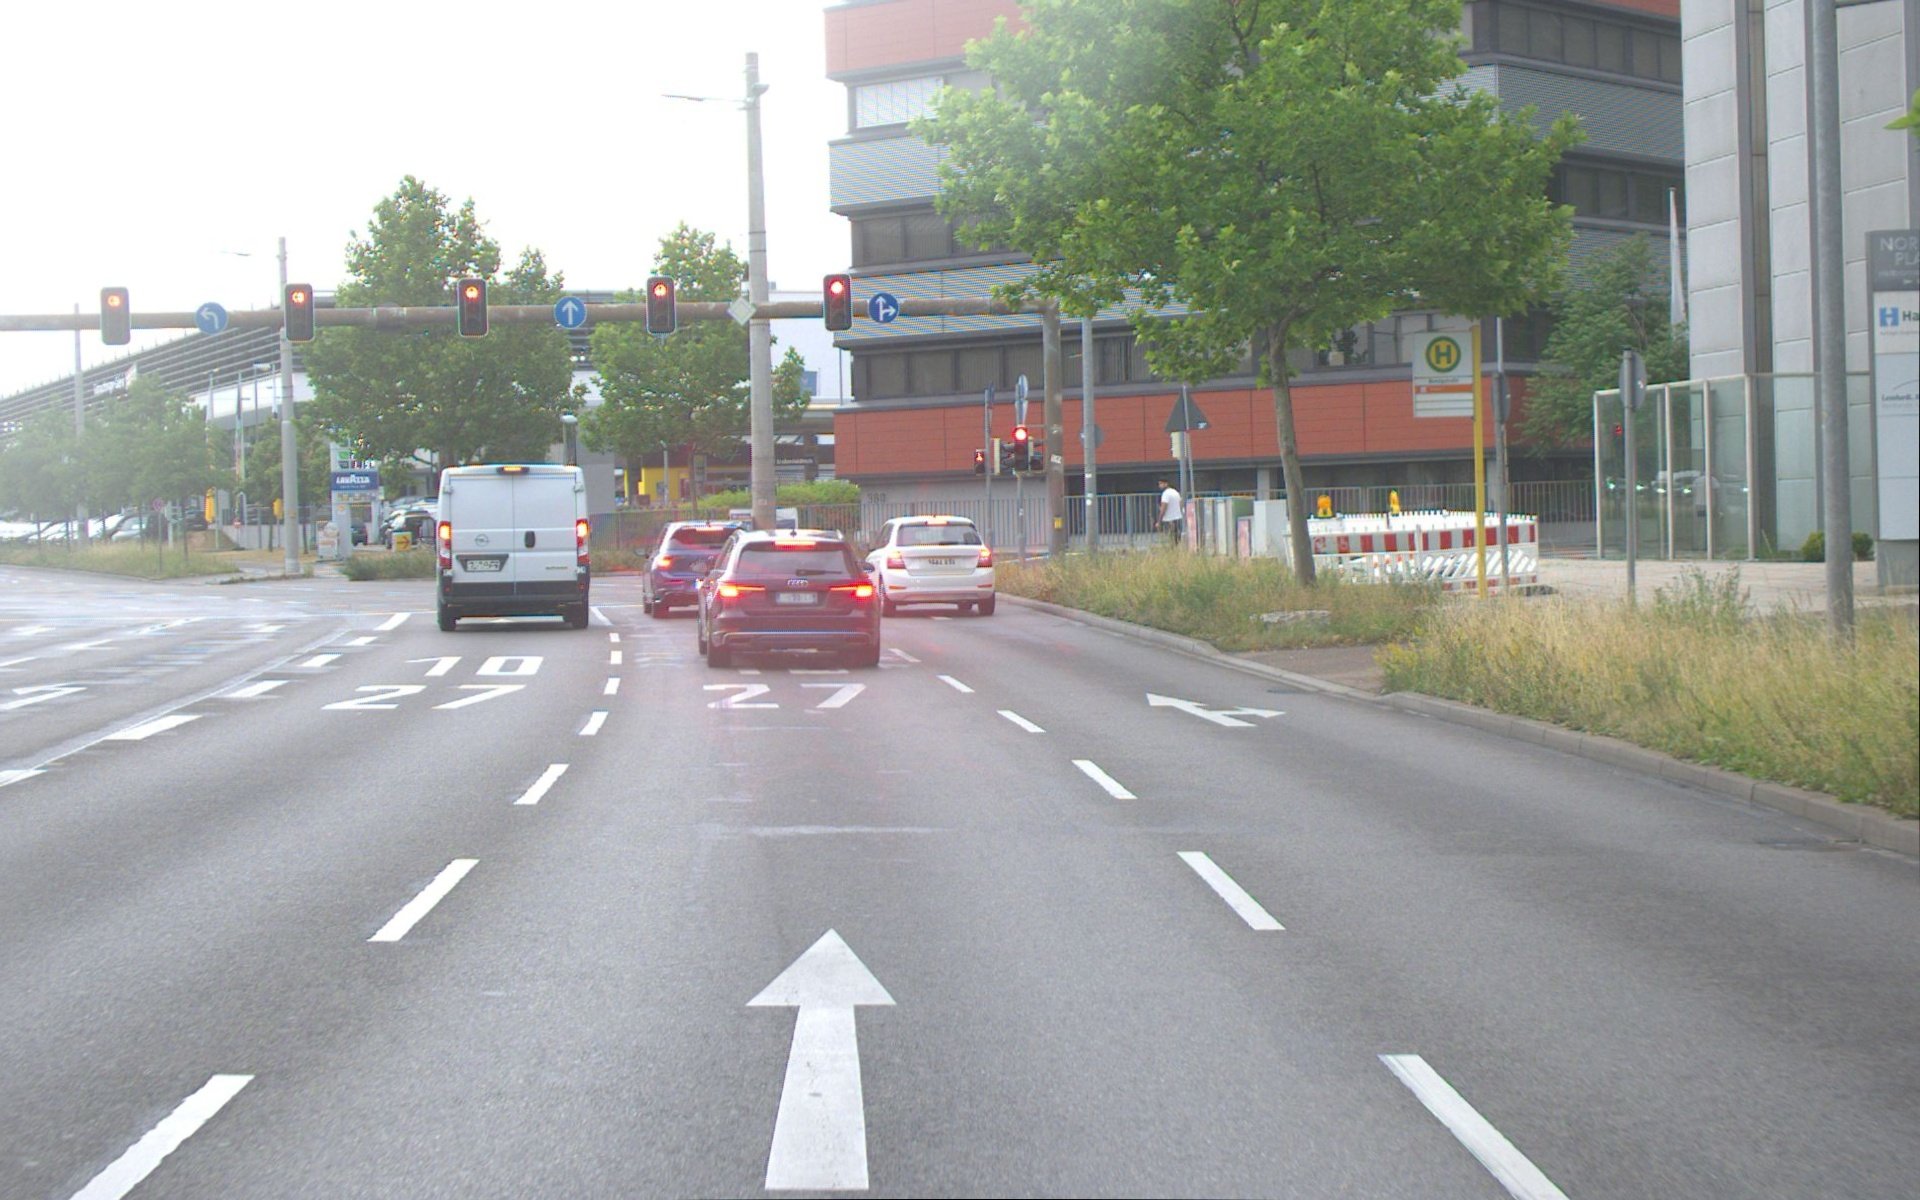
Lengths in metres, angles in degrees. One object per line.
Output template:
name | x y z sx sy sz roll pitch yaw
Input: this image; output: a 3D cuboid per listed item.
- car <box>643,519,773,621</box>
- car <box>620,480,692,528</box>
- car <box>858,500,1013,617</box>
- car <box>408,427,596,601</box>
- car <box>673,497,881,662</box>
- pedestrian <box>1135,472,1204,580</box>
car | -3.876 -0.468 52.779 1.893 1.460 3.910 -1 1 -4
car | -13.457 -4.233 151.932 1.870 2.007 3.774 1 0 -27
car | -0.412 -0.612 51.208 1.828 1.650 4.001 -1 1 -7
car | -6.498 -1.162 48.330 2.444 2.286 4.906 1 0 -9
car | -2.002 -0.218 36.518 1.993 1.631 4.001 1 0 -6
pedestrian | 4.269 -1.525 70.201 1.143 2.118 1.223 -2 3 -6
